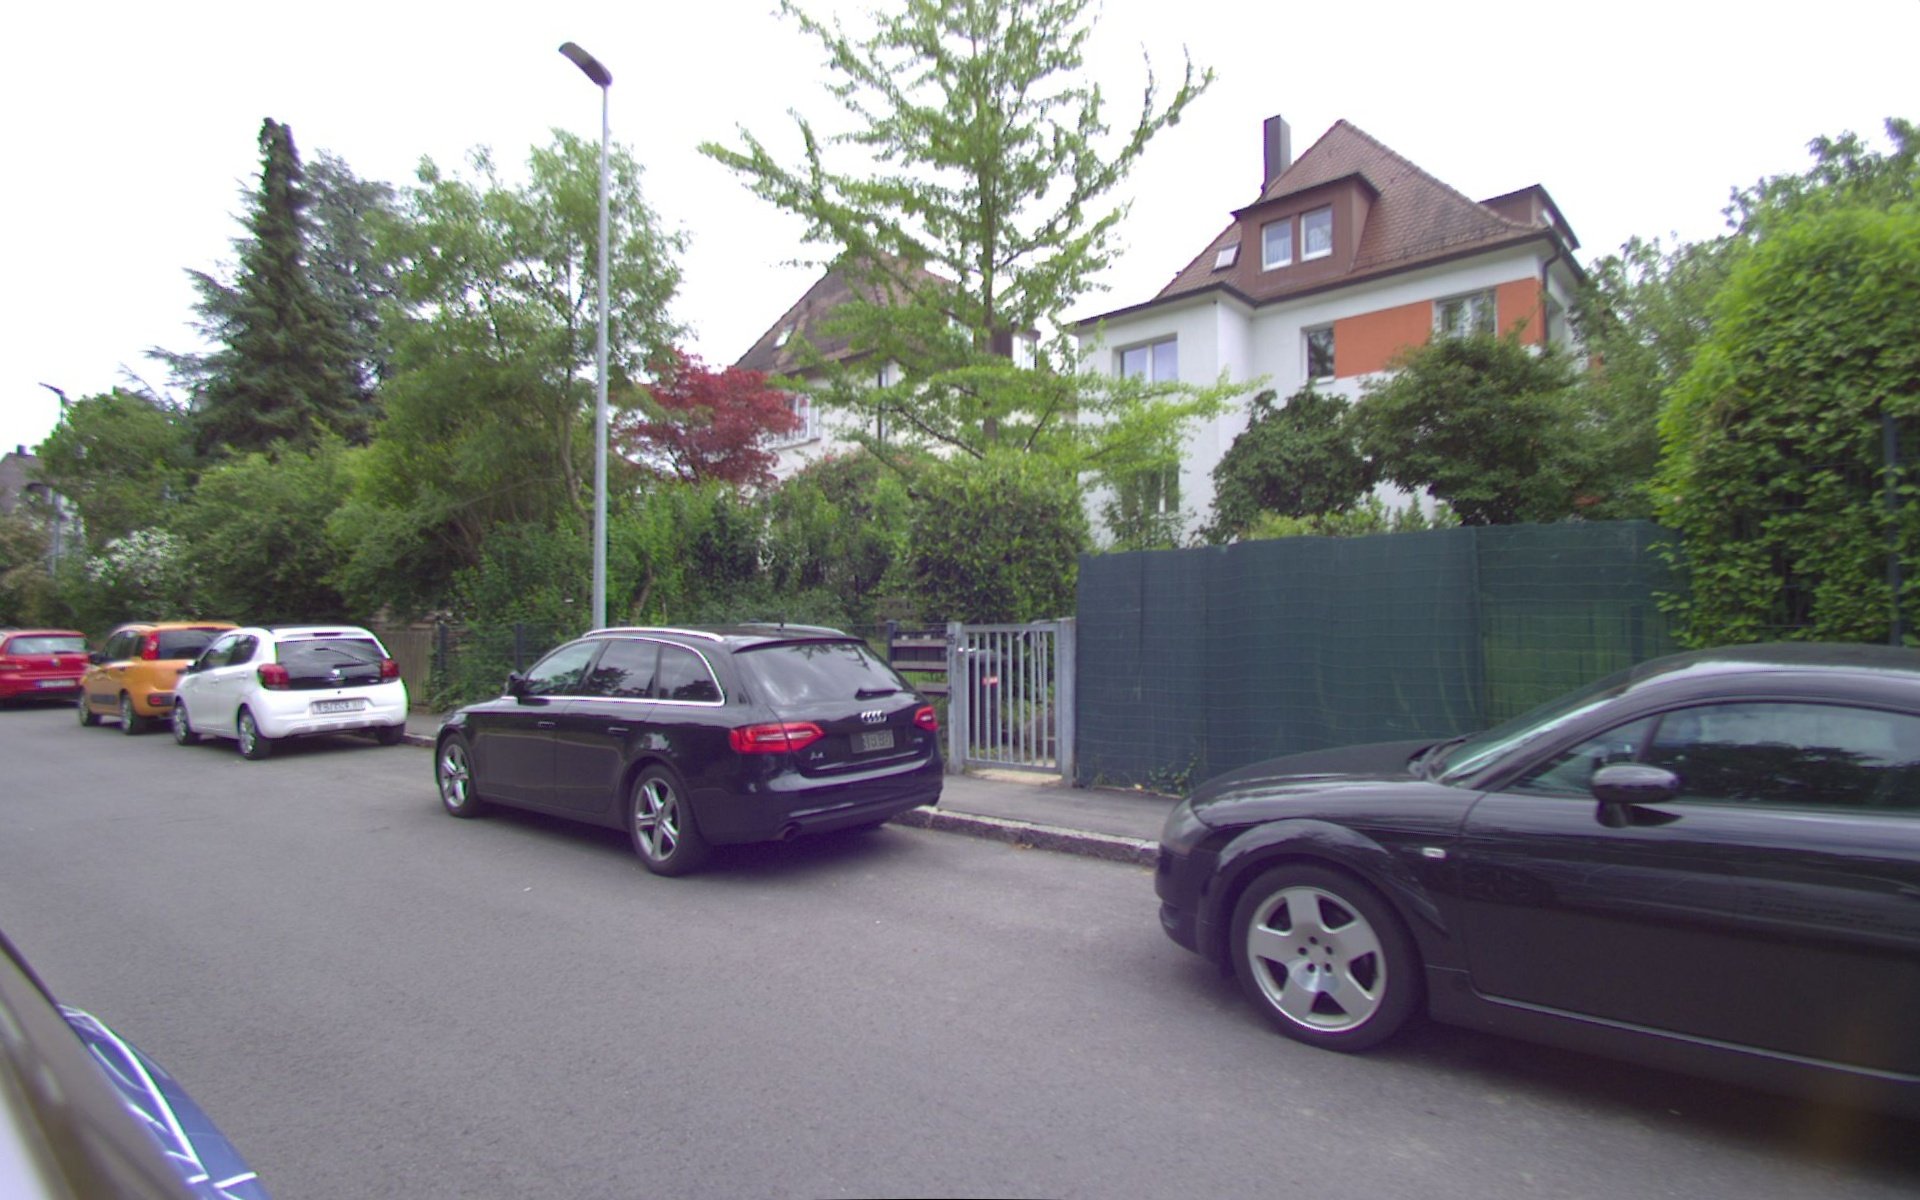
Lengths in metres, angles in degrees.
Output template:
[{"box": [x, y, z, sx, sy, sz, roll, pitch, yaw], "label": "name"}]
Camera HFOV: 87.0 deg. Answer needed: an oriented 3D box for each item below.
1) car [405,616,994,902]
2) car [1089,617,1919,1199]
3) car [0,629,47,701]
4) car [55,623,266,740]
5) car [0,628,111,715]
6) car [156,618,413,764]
[{"box": [-2.097, 0.837, 7.136, 4.661, 1.395, 1.700, -2, -2, 41], "label": "car"}, {"box": [2.603, 0.743, 3.171, 4.104, 1.351, 1.694, -2, -1, 40], "label": "car"}, {"box": [-22.232, 1.426, 22.608, 4.483, 1.526, 1.693, -1, -2, 34], "label": "car"}, {"box": [-11.863, 1.120, 14.967, 3.636, 1.526, 1.530, -2, -2, 36], "label": "car"}, {"box": [-18.327, 1.331, 19.756, 4.355, 1.526, 1.691, -2, -2, 36], "label": "car"}, {"box": [-8.309, 1.007, 12.366, 3.585, 1.526, 1.573, -2, -2, 38], "label": "car"}]
